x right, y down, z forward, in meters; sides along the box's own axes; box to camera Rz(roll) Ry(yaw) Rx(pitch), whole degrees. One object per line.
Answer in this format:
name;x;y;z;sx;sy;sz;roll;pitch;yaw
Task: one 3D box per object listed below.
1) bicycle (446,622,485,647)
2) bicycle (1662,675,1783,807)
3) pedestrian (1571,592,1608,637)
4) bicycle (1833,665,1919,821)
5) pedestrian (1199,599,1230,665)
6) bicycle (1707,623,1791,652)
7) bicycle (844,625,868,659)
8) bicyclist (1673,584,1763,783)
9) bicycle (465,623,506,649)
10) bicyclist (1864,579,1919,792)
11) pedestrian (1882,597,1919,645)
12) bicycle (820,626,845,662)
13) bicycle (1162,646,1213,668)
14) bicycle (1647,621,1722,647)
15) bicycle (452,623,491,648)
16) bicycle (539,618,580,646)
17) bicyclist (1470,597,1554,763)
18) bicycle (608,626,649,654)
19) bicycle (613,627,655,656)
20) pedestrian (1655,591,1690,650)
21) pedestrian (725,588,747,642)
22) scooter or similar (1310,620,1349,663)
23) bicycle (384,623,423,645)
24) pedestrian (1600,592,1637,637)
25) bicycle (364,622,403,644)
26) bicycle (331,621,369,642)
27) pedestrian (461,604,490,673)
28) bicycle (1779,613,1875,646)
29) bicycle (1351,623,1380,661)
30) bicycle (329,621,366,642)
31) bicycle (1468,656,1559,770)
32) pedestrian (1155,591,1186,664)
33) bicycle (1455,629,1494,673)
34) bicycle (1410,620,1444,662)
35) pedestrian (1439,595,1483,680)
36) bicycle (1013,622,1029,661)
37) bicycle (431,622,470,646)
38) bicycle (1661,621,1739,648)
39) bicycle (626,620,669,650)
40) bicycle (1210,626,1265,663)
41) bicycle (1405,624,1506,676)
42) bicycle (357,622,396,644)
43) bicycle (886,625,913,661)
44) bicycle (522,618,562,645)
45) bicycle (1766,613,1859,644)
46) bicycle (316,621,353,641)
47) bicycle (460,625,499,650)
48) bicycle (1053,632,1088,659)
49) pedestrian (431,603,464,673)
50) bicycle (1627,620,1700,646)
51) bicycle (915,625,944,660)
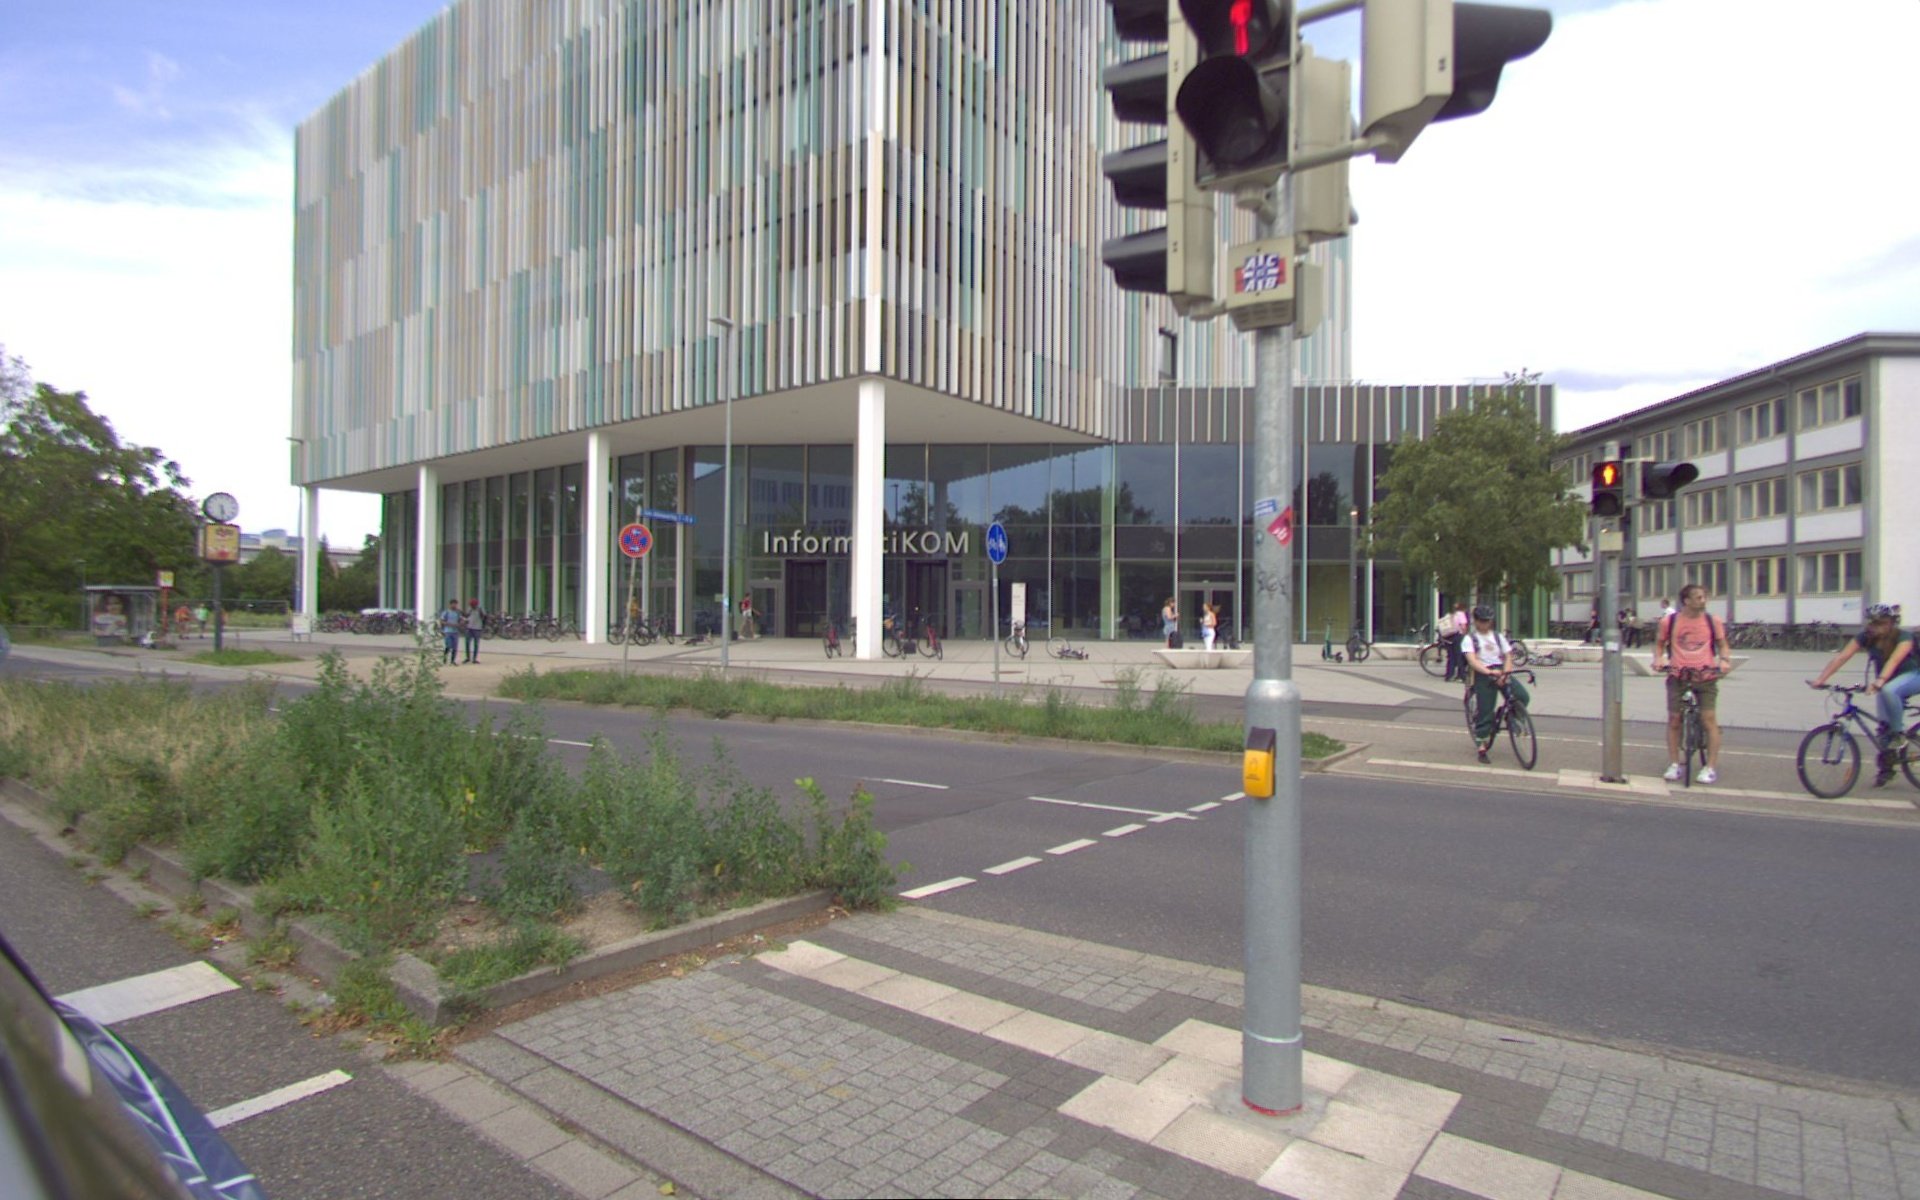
bicycle;-22.020;1.512;45.042;0.388;1.031;1.564;-1;1;34
bicycle;7.216;1.287;9.651;0.568;0.996;1.678;-1;0;25
pedestrian;27.450;0.649;44.136;0.962;1.945;1.069;0;-1;5
bicycle;8.338;1.200;8.782;0.603;1.179;1.880;-1;-1;24
pedestrian;6.280;0.780;25.014;0.671;1.612;0.728;0;-1;8
bicycle;31.780;1.503;40.793;2.640;1.142;0.745;0;-1;5
bicycle;-3.143;1.250;30.686;0.389;0.944;1.595;-1;1;6
bicyclist;7.206;0.760;9.643;0.559;1.820;0.596;0;0;25
bicycle;-20.120;1.503;42.915;0.388;1.031;1.564;-1;1;34
bicyclist;8.392;0.725;8.849;0.559;1.820;0.596;0;0;25
pedestrian;30.881;0.698;33.227;0.589;1.560;0.658;0;-1;-9
bicycle;-3.733;1.273;29.676;0.389;0.944;1.608;-1;1;6
bicycle;6.308;1.573;28.170;0.614;0.526;2.254;0;-1;-8
bicycle;31.971;1.491;44.701;2.640;1.142;0.745;0;-1;5
bicycle;-21.559;1.574;44.698;0.388;1.031;1.564;-1;1;34
bicycle;-15.890;1.266;40.210;0.388;1.031;1.564;-1;1;34
bicyclist;5.857;0.814;10.775;0.720;1.685;0.722;0;0;25
bicycle;-12.162;1.475;37.159;0.388;0.944;1.529;-1;1;34
bicycle;-11.739;1.478;36.446;0.393;0.944;1.529;-1;1;34
pedestrian;21.919;0.627;31.127;0.627;1.792;0.597;0;-1;-6
pedestrian;-8.581;0.589;38.761;0.623;2.059;0.506;-2;-2;37
scooter or similar;10.696;1.183;29.349;0.589;1.207;2.121;0;-1;7
bicycle;-27.446;1.662;49.907;0.388;1.031;1.685;-1;1;34
pedestrian;28.952;0.636;44.504;0.962;1.945;1.069;0;-1;5
bicycle;-28.883;1.630;50.735;0.433;1.031;1.685;-1;1;34
bicycle;-32.301;1.668;53.630;0.433;1.031;1.685;-1;1;34
pedestrian;-13.318;1.055;27.801;0.623;1.851;0.506;-2;-2;38
bicycle;31.067;1.062;36.277;2.640;1.142;0.745;0;-1;5
bicycle;11.433;1.166;28.464;0.669;1.007;2.661;-1;-1;24
bicycle;-32.875;1.671;54.316;0.433;1.031;1.685;-1;1;34
bicycle;5.913;1.158;10.890;0.724;0.996;1.807;-1;0;25
pedestrian;5.170;0.676;24.874;0.670;1.753;0.729;0;-1;5
bicycle;14.050;1.360;27.683;0.792;1.097;2.661;-1;-1;24
bicycle;12.978;1.108;28.183;0.792;1.097;2.661;-1;-1;24
pedestrian;9.639;0.714;19.462;0.574;1.593;0.643;-1;-2;44
bicycle;1.749;1.184;29.209;0.389;1.037;1.545;-1;1;2
bicycle;-23.005;1.531;45.689;0.388;1.031;1.564;-1;1;34
bicycle;31.750;1.496;43.454;2.640;1.142;0.745;0;-1;5
bicycle;-11.078;1.233;35.915;0.398;1.002;1.528;-1;1;35
bicycle;7.767;1.226;28.431;0.614;0.992;2.254;0;-1;-8
bicycle;9.900;0.981;20.262;1.748;1.006;0.434;-1;-2;42
bicycle;-29.554;1.653;51.257;0.433;1.031;1.685;-1;1;34
bicycle;-1.762;1.223;29.283;0.387;0.944;1.603;-1;1;-18
bicycle;-17.283;1.296;41.887;0.388;1.031;1.564;-1;1;34
bicycle;31.515;1.055;37.443;2.640;1.142;0.745;0;-1;5
bicycle;-34.078;1.678;55.182;0.433;1.031;1.685;-1;1;34
bicycle;-21.092;1.631;44.419;0.388;1.031;1.564;-1;1;34
bicycle;3.180;1.304;29.258;0.387;0.678;1.800;-1;1;-14
pedestrian;-13.752;1.024;27.163;0.771;1.851;0.506;-2;-2;39
bicycle;31.964;1.488;46.003;2.640;1.142;0.745;0;-1;5
bicycle;-0.907;1.215;29.443;0.387;0.944;1.603;-1;1;-18
